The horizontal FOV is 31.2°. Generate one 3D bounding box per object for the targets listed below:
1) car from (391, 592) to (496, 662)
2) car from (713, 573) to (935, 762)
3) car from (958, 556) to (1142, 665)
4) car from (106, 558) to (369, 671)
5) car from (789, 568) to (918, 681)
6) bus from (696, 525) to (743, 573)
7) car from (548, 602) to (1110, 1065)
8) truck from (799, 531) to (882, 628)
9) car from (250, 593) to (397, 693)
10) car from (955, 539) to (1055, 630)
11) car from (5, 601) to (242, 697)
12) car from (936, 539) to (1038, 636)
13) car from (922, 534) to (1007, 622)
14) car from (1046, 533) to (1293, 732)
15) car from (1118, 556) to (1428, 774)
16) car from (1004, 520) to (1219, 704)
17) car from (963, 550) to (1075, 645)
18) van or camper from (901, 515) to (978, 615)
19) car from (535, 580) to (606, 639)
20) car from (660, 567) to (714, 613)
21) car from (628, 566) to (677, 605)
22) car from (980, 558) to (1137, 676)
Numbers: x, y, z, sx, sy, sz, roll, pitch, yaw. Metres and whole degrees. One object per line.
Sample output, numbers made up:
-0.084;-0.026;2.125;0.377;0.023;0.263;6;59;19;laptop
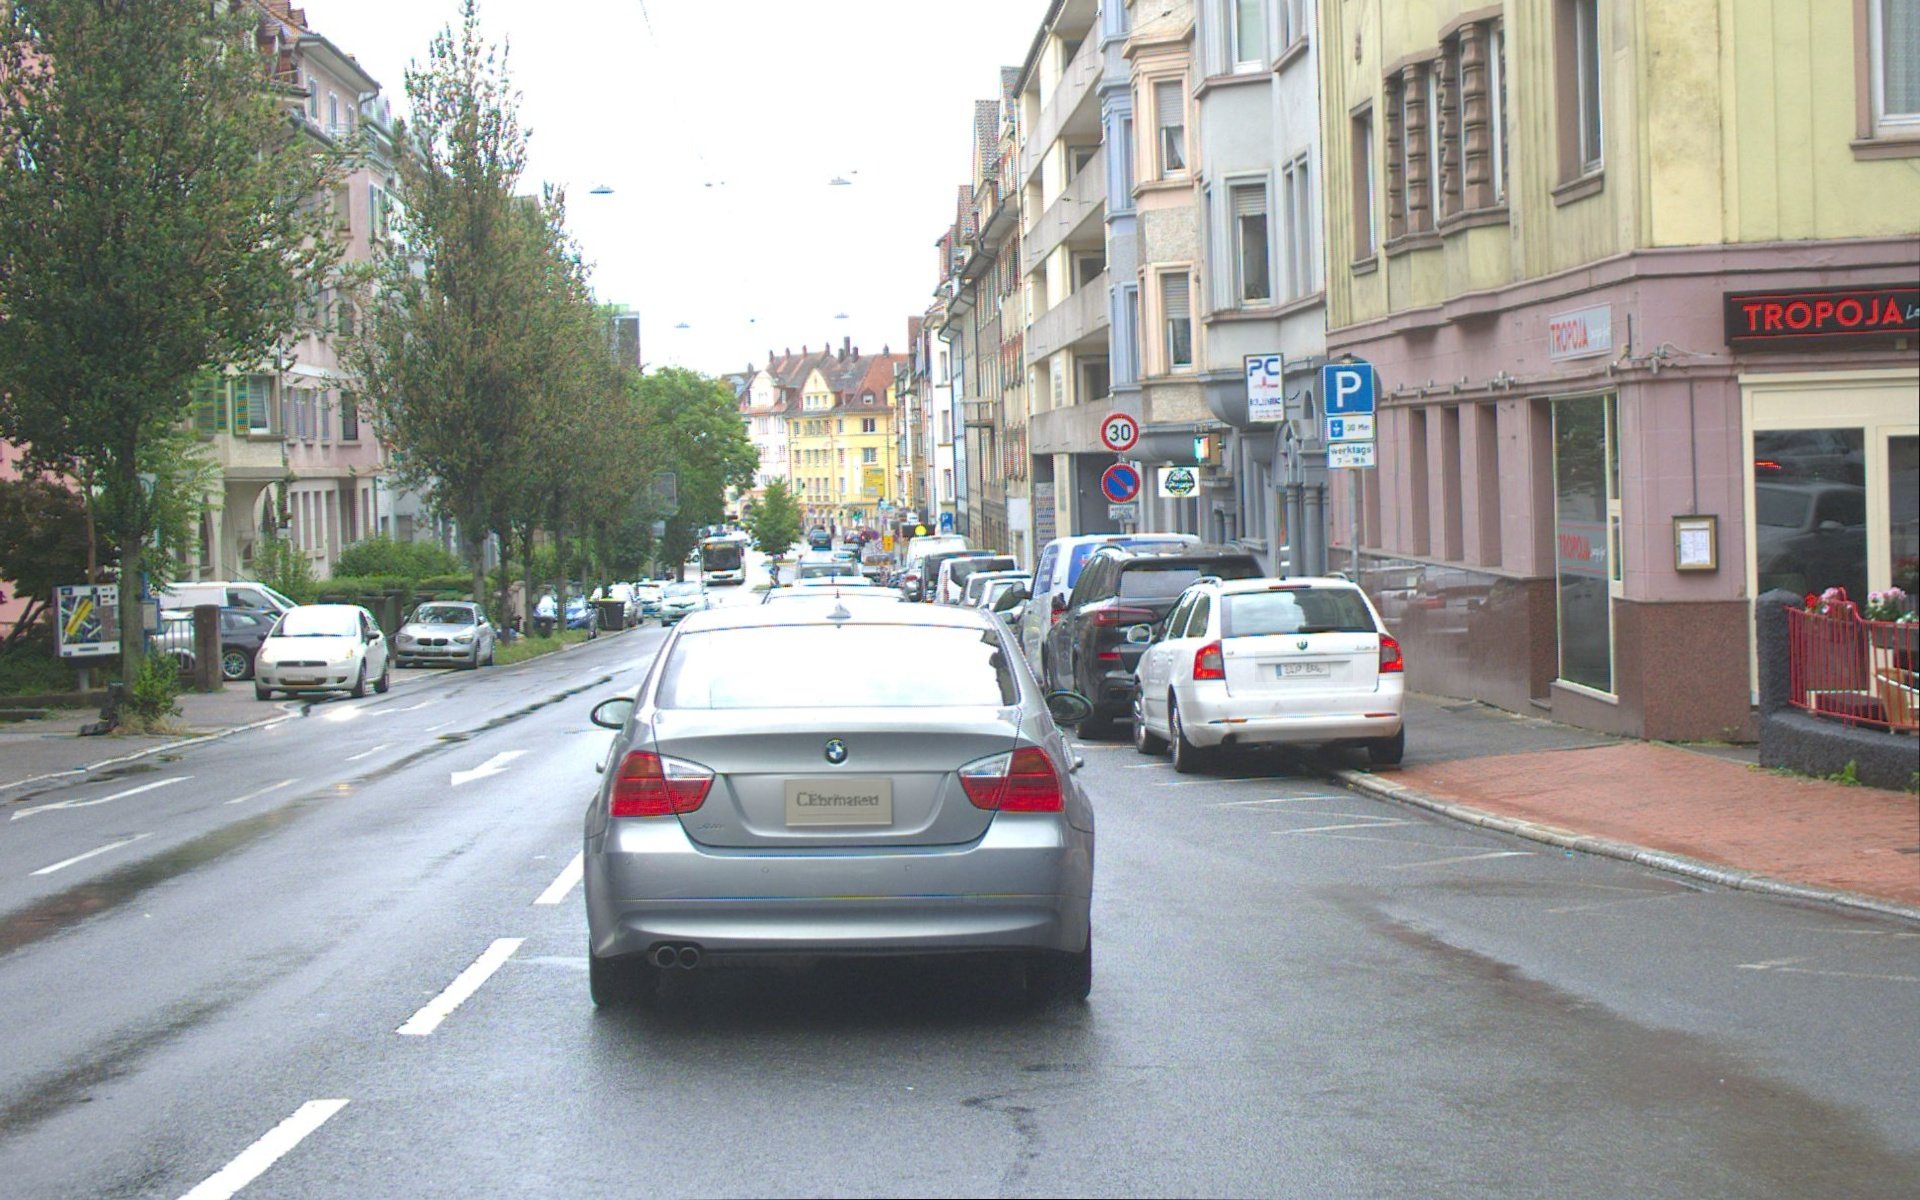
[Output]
-11.182;0.579;74.648;1.726;1.479;3.989;0;0;-1;car
-1.073;0.516;28.316;1.681;1.423;3.741;-1;0;-1;car
1.252;0.144;50.022;1.875;1.462;4.776;-1;0;-8;car
-14.560;0.279;69.467;4.828;1.967;2.048;-3;0;-2;car
-1.468;0.324;47.569;1.697;1.478;3.794;-1;0;-2;car
-16.222;-3.397;232.315;2.668;3.014;7.671;-3;0;-2;bus
-0.469;0.743;12.821;1.769;1.423;3.741;-1;0;-2;car
-3.098;-0.512;88.320;2.031;2.404;4.827;-1;0;-3;truck
-10.148;0.661;55.042;1.621;1.441;4.005;-3;0;-1;car
0.886;-0.321;70.090;1.726;1.664;4.289;-5;1;-2;car
-14.844;0.857;61.169;3.880;1.452;1.792;-4;0;-9;car
0.571;-0.288;76.939;1.982;2.000;4.625;-3;0;-2;car
0.096;-0.588;91.704;1.982;2.158;4.750;-3;0;-2;car
1.900;0.267;32.568;1.878;1.725;4.677;-1;0;-2;car
2.381;0.457;27.249;1.798;1.559;4.493;-1;0;-3;car
1.625;0.107;38.628;1.919;1.821;5.009;-3;0;-2;car
0.941;-0.054;56.731;1.611;1.469;4.016;-1;0;-2;car
-0.569;-1.048;102.119;2.033;2.859;6.885;0;1;2;van or camper
-11.664;0.263;103.229;1.766;1.588;4.000;-4;1;-3;car
-9.855;-0.356;124.402;1.636;1.503;3.755;-5;1;-2;car
-12.964;-0.629;145.100;1.691;1.518;3.736;-4;1;-1;car
1.196;0.184;43.325;1.677;1.370;4.276;-2;0;-2;car
